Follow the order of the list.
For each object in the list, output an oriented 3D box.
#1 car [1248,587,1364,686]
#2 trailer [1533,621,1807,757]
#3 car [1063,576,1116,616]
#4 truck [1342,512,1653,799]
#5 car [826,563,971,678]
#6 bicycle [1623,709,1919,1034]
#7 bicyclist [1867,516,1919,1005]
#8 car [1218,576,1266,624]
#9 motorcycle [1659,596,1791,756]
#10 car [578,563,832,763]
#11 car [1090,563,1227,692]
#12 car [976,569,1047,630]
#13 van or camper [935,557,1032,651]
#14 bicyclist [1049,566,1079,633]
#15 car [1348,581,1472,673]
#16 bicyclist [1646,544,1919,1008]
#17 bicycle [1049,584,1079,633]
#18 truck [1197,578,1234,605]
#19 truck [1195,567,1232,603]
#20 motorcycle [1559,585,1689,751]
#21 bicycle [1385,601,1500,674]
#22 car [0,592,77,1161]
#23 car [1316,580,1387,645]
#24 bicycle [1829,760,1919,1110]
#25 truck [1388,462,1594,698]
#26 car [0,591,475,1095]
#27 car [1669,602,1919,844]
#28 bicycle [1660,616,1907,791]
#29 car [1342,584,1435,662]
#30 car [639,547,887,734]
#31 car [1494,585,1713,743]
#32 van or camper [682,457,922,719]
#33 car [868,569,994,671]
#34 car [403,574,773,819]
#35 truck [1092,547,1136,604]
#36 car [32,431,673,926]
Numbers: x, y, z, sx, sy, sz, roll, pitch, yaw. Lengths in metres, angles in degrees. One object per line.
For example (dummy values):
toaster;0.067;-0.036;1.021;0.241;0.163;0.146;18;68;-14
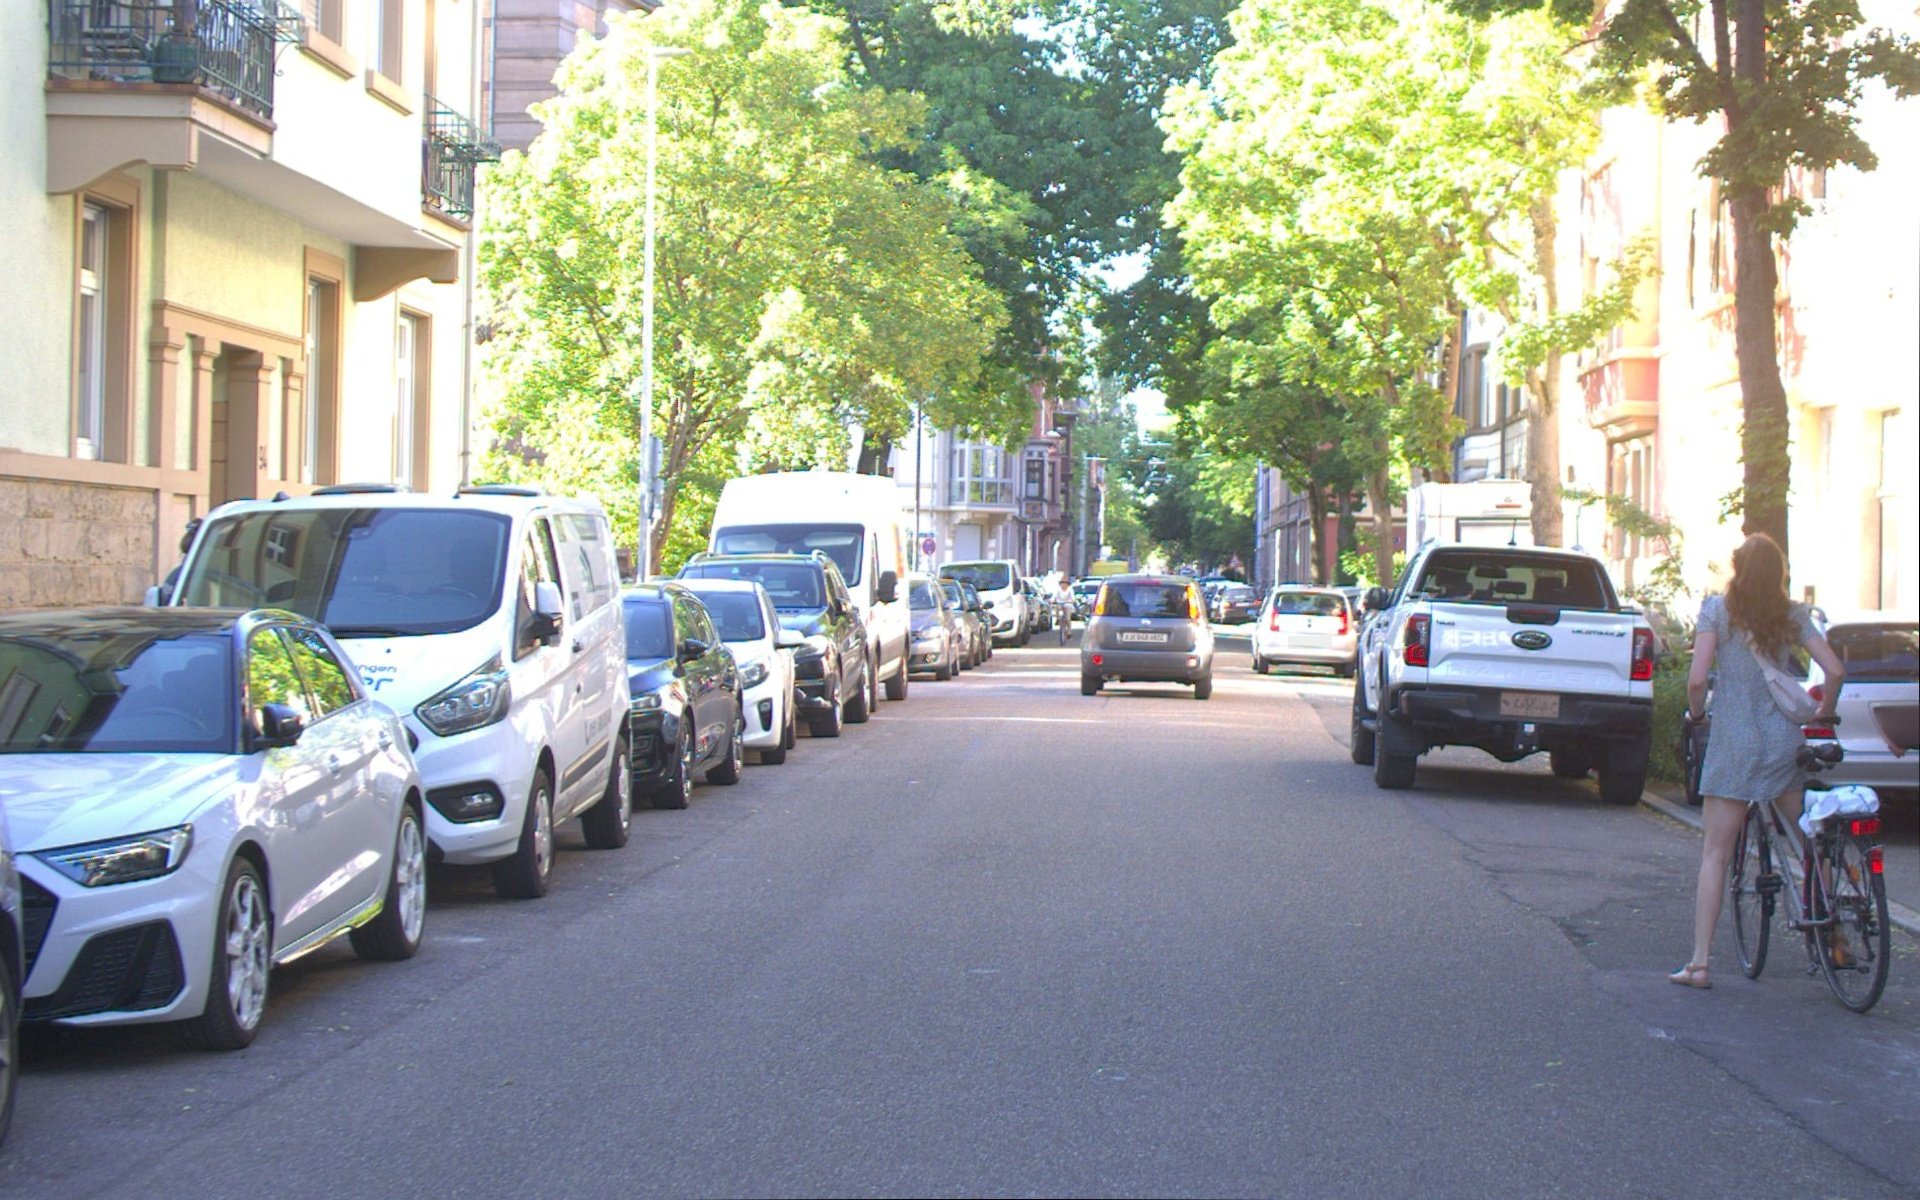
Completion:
car;5.837;0.593;58.319;1.679;1.539;3.800;2;1;3
trailer;6.280;0.783;30.496;2.079;1.108;1.116;2;1;-10
car;4.901;-0.167;129.663;1.797;1.427;3.924;-2;0;5
truck;4.050;0.357;26.710;1.828;1.942;5.540;2;1;4
car;-0.857;0.274;50.383;1.780;1.585;4.468;-1;0;3
bicycle;3.241;1.008;13.174;0.705;1.042;1.858;5;0;-9
bicyclist;3.466;0.527;11.019;0.755;1.560;0.981;3;1;-2
car;10.383;-0.027;126.814;1.663;1.663;3.756;2;1;5
motorcycle;7.185;0.691;32.384;0.861;1.411;2.234;2;1;5
car;-2.056;0.492;28.732;1.635;1.546;4.088;0;0;3
car;2.493;0.314;43.382;1.633;1.545;3.264;1;1;3
car;1.410;-0.018;93.178;1.825;1.549;4.133;-2;0;1
van or camper;0.572;0.072;77.379;1.922;1.973;5.461;-2;0;3
bicyclist;2.353;-0.020;77.655;0.651;1.503;0.624;1;0;3
car;8.006;0.447;61.500;1.786;1.508;4.459;2;1;3
bicyclist;3.225;0.652;13.256;0.714;1.683;0.982;4;0;-10
bicycle;2.351;0.196;77.545;0.665;1.073;1.685;1;1;2
truck;14.122;-0.483;190.097;1.994;1.452;4.000;1;1;4
truck;14.414;-0.849;195.468;1.994;1.985;4.000;1;1;4
motorcycle;6.243;0.614;32.420;0.930;1.481;2.138;2;1;5
bicycle;7.923;0.610;56.535;1.811;1.163;0.569;-1;0;3
car;-3.351;0.736;7.302;1.720;1.457;4.507;-1;0;1
car;9.374;0.288;82.508;1.520;1.505;3.543;1;0;4
bicycle;3.423;1.099;10.987;0.739;1.056;1.858;3;0;-1
truck;7.122;-0.284;46.709;2.074;2.958;6.108;-1;0;3
car;-3.062;0.724;12.317;1.833;1.457;4.363;-1;0;2
car;5.909;0.742;22.911;1.680;1.417;4.430;0;1;3
bicycle;6.413;0.798;26.816;1.759;1.301;0.586;1;0;2
car;8.417;0.427;67.708;1.597;1.483;3.747;0;0;4
car;-1.850;0.343;33.799;1.875;1.680;4.969;-1;1;3
car;6.654;0.612;35.975;1.751;1.524;4.780;0;0;5
van or camper;-1.722;-0.151;39.568;2.128;2.760;5.851;-1;0;3
car;-0.440;0.299;56.573;1.676;1.567;4.151;-2;0;4
car;-2.470;0.584;23.993;1.766;1.516;4.824;0;1;4
truck;8.167;-1.305;182.168;2.071;2.916;5.067;-2;0;4
car;-2.932;0.338;17.957;2.251;2.161;5.243;-1;0;1
